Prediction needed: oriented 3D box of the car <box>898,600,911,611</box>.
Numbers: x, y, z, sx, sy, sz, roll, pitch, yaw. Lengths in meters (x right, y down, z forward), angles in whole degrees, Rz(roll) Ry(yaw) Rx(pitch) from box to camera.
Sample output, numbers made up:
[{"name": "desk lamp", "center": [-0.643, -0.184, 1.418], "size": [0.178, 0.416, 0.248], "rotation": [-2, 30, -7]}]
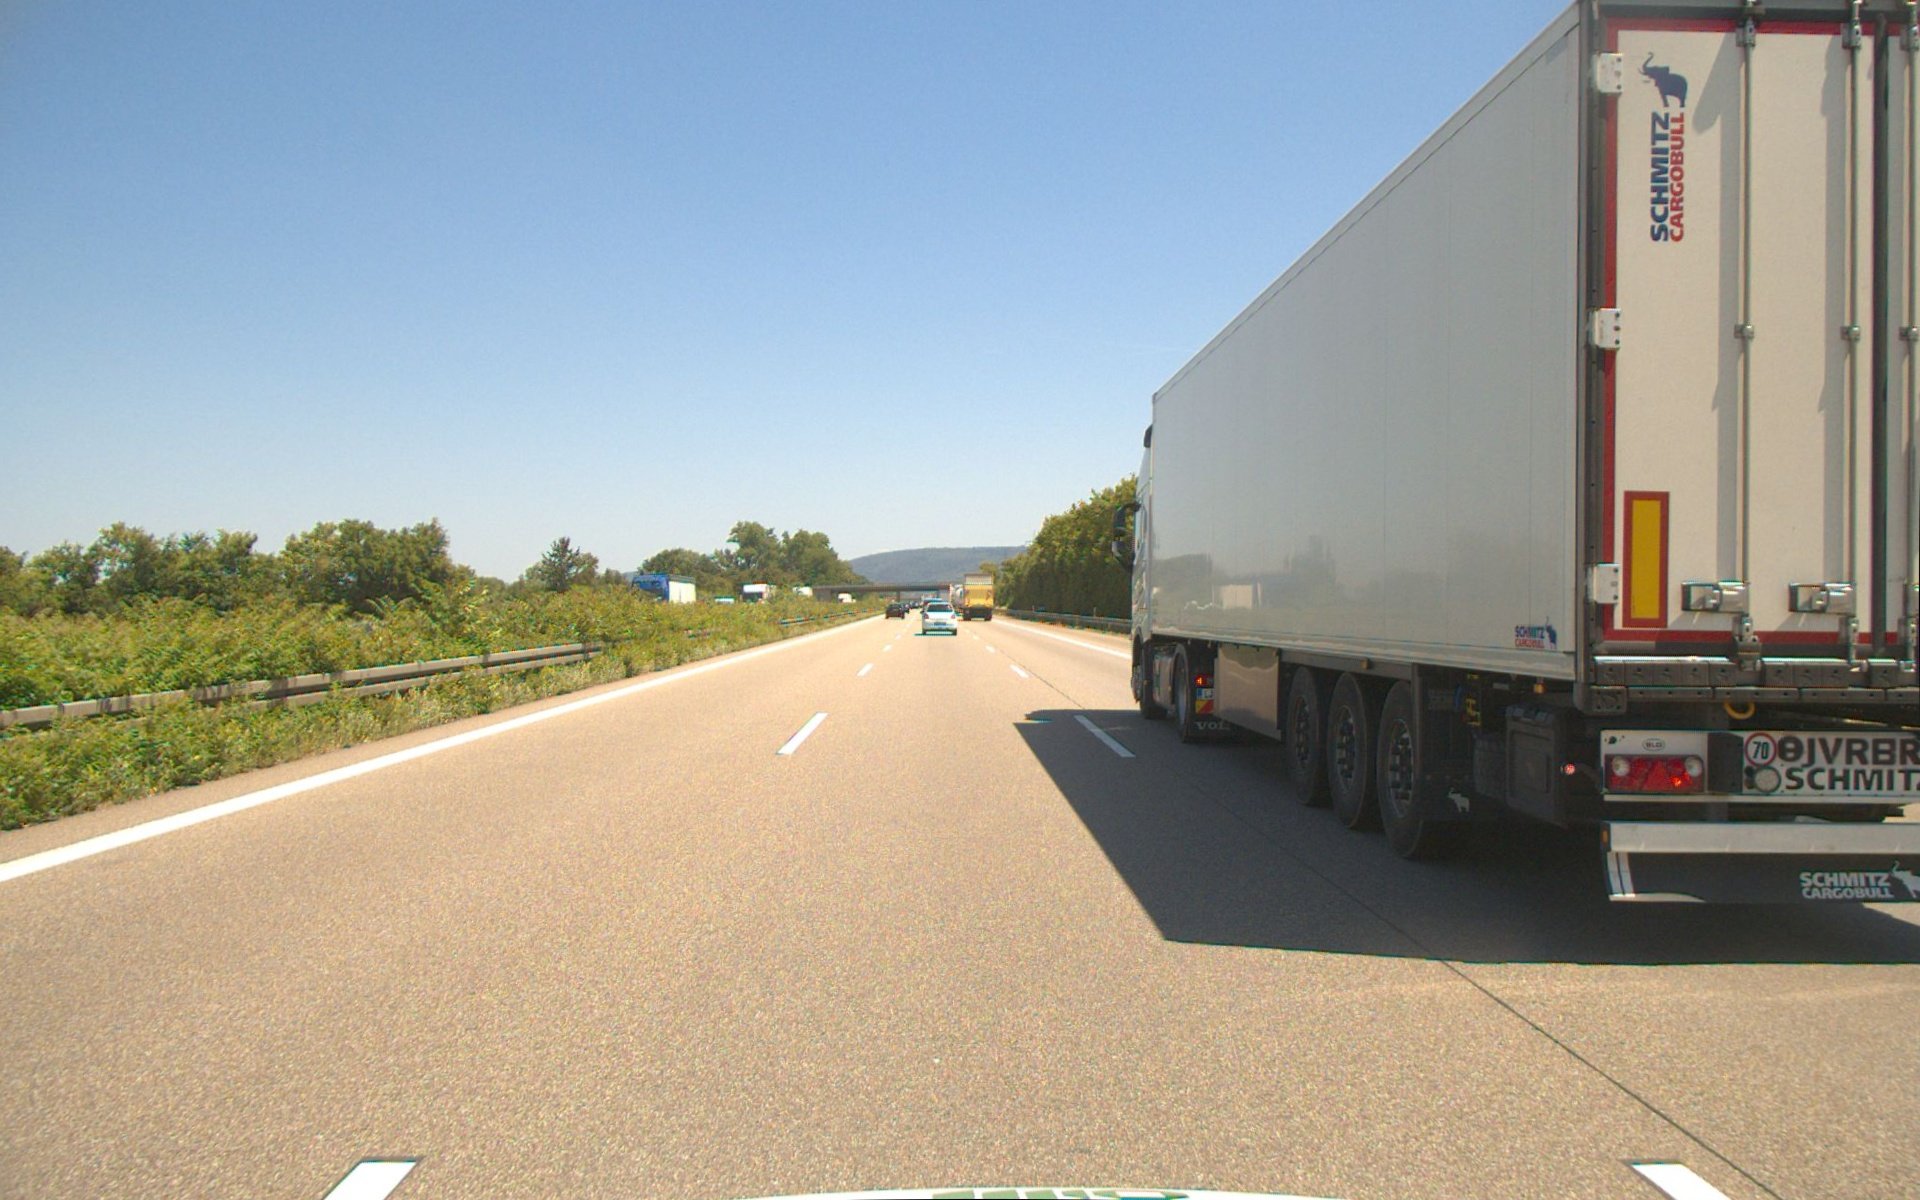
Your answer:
[{"name": "car", "center": [-7.813, 0.743, 232.017], "size": [1.759, 1.578, 3.999], "rotation": [0, 0, -1]}]

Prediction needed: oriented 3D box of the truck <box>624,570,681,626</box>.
[{"name": "truck", "center": [-22.090, -0.160, 119.140], "size": [3.070, 3.899, 5.832], "rotation": [-1, 0, -1]}]

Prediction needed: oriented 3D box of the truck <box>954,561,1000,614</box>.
[{"name": "truck", "center": [1.461, -1.127, 147.901], "size": [3.792, 4.421, 13.858], "rotation": [1, 0, -1]}]

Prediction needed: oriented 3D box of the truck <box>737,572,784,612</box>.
[{"name": "truck", "center": [-23.115, -0.913, 192.493], "size": [3.792, 4.421, 13.858], "rotation": [1, 0, -1]}]

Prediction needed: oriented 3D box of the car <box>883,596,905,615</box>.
[{"name": "car", "center": [-6.041, 0.479, 152.629], "size": [1.953, 1.742, 3.999], "rotation": [-1, 0, -1]}]

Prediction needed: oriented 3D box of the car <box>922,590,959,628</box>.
[{"name": "car", "center": [-0.956, 0.406, 79.051], "size": [1.697, 1.713, 3.999], "rotation": [-1, 1, -1]}]

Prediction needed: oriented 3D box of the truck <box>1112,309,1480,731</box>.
[{"name": "truck", "center": [3.860, -0.862, 20.799], "size": [3.152, 4.421, 6.589], "rotation": [1, 0, -1]}]

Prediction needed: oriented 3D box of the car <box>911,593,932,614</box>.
[{"name": "car", "center": [-3.352, 0.299, 142.801], "size": [1.750, 1.742, 3.999], "rotation": [1, 0, -1]}]

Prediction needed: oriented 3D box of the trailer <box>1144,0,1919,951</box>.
[{"name": "trailer", "center": [3.971, -0.819, 13.559], "size": [3.152, 4.421, 13.626], "rotation": [1, 0, -1]}]

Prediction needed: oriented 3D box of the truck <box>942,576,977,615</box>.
[{"name": "truck", "center": [-0.140, -0.544, 207.762], "size": [4.184, 4.733, 13.858], "rotation": [0, 0, -1]}]
